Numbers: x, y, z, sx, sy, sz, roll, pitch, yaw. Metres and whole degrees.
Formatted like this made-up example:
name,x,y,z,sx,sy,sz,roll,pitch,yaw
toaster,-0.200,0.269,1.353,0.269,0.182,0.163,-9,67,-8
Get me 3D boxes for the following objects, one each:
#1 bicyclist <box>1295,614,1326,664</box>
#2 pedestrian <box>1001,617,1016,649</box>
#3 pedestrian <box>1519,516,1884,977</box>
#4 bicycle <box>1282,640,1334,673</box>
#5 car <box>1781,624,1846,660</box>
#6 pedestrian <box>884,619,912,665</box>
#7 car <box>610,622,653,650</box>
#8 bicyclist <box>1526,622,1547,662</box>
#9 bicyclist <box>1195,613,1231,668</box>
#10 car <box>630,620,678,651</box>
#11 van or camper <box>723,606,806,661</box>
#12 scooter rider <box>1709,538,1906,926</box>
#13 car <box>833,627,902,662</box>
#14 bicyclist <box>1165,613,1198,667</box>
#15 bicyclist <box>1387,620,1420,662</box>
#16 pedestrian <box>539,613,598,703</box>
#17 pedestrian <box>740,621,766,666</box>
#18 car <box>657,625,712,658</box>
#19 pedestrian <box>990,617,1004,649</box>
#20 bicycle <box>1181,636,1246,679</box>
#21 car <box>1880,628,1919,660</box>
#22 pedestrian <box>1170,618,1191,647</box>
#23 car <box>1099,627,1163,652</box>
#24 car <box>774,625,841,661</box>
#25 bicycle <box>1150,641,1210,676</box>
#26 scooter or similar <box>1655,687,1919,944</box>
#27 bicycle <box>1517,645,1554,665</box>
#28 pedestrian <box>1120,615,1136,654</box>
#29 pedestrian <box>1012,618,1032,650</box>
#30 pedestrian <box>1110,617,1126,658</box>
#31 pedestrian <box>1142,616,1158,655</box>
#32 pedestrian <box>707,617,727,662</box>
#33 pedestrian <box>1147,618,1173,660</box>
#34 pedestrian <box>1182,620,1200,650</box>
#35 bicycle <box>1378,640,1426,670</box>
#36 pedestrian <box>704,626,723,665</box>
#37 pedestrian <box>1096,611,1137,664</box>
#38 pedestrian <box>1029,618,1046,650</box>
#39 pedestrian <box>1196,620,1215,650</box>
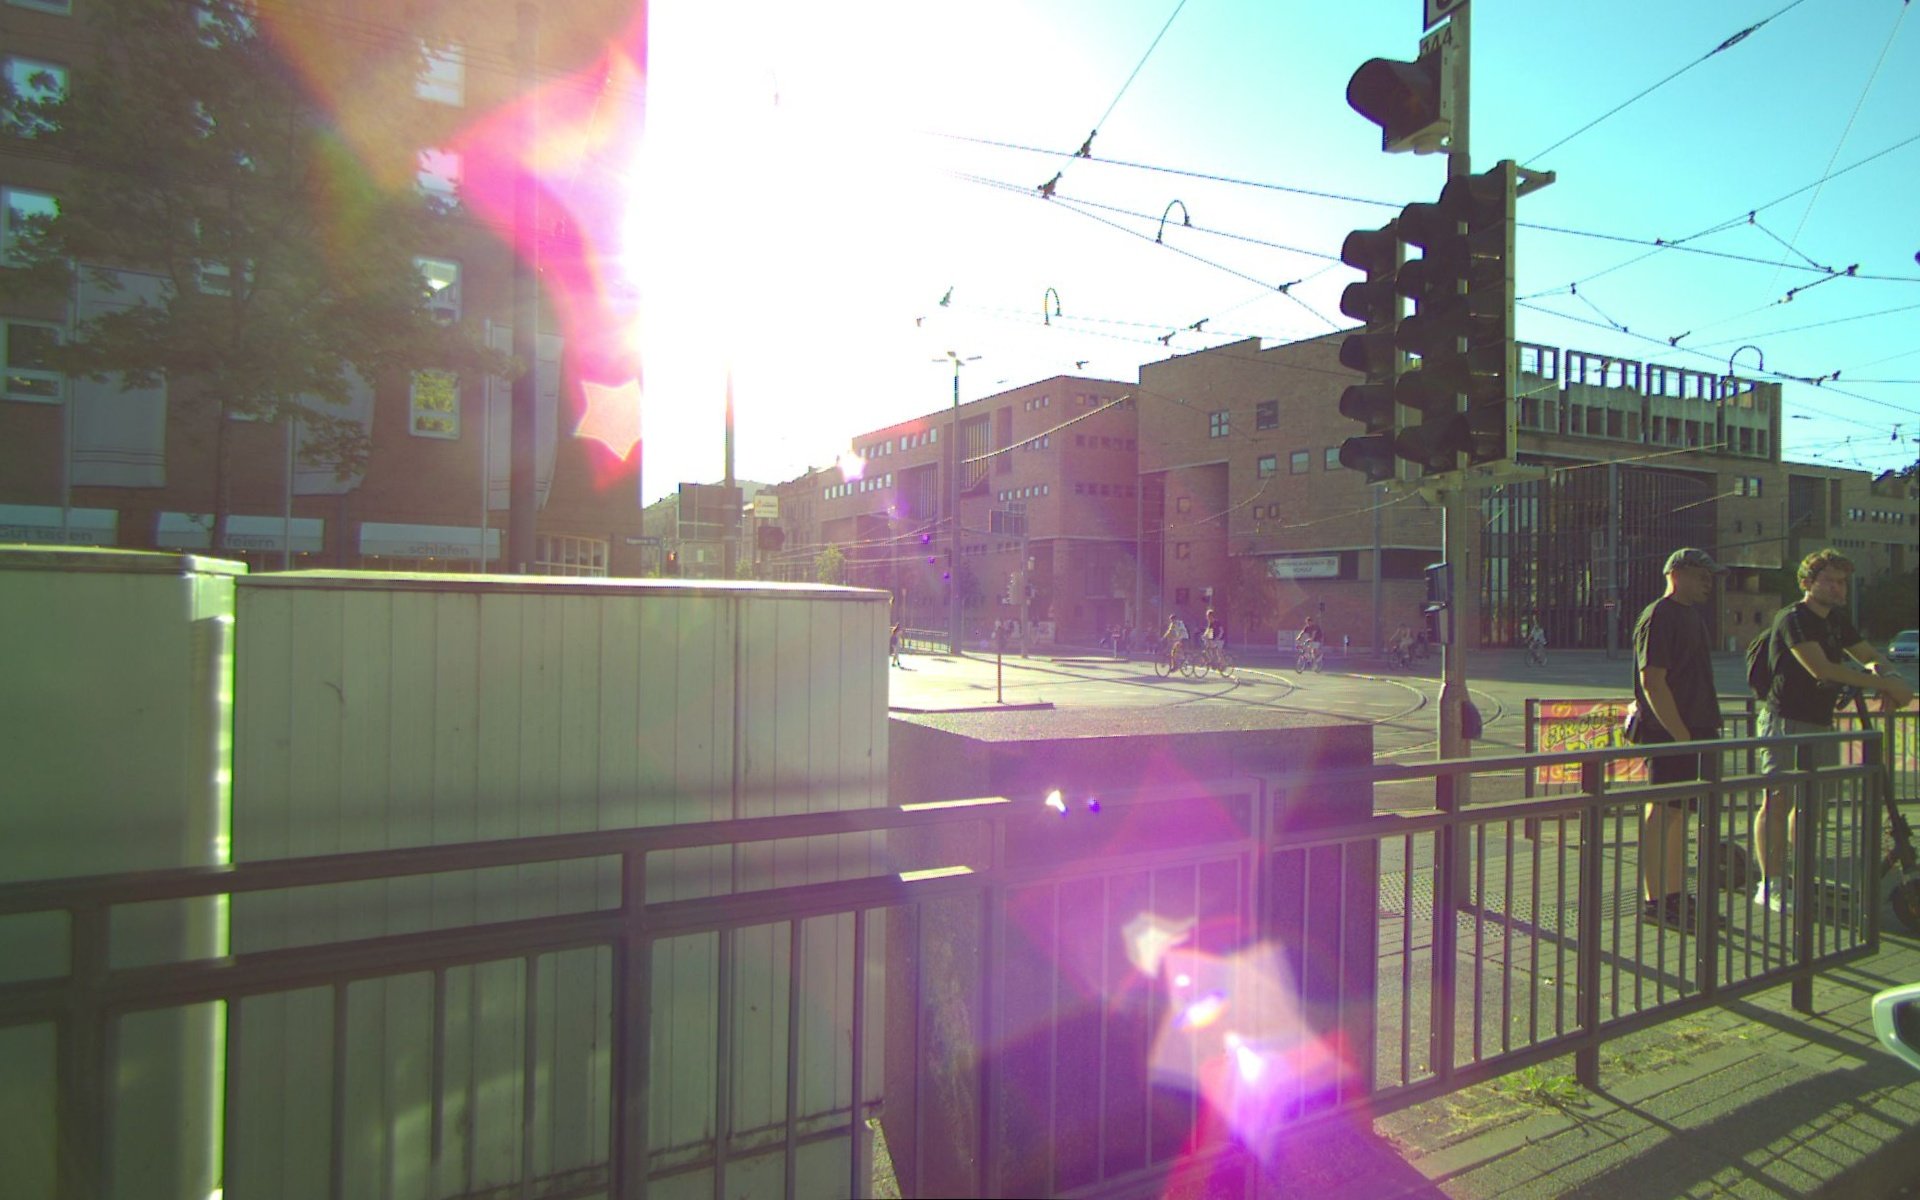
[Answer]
name,x,y,z,sx,sy,sz,roll,pitch,yaw
bicyclist,11.489,1.272,32.923,0.752,1.590,0.656,1,-2,-37
pedestrian,3.117,2.130,64.448,0.644,2.040,0.780,1,-1,-32
pedestrian,3.538,0.625,4.885,0.843,1.908,1.164,1,-1,-25
bicycle,11.391,1.838,32.847,1.884,1.011,0.688,1,-2,-37
car,46.141,2.245,54.294,3.964,1.786,1.854,1,0,-37
pedestrian,-2.447,1.658,39.705,0.860,1.775,0.670,1,-2,-39
car,-21.136,2.295,64.590,1.738,1.750,3.965,1,-2,-32
bicyclist,24.226,1.755,42.196,0.509,1.647,0.583,1,-1,-34
bicyclist,7.504,1.183,29.781,0.751,1.581,0.677,-1,0,-36
car,-18.280,2.102,59.956,1.738,1.750,3.965,1,-2,-32
van or camper,-9.372,1.575,47.933,1.981,2.451,4.980,1,-2,-36
scooter rider,4.447,0.659,5.281,0.670,1.877,0.564,3,-2,-25
car,-4.818,2.245,51.803,1.978,1.709,3.965,1,-2,-33
bicyclist,6.692,1.210,30.331,0.751,1.595,0.656,1,-1,-34
bicyclist,16.111,1.479,36.447,1.022,1.494,0.649,2,-1,-35
pedestrian,-8.297,1.204,21.291,0.947,1.822,0.984,2,0,-33
pedestrian,-8.345,1.746,40.483,0.857,1.775,0.672,1,-1,-30
car,-14.907,2.212,54.236,1.739,1.750,3.963,1,-2,-33
pedestrian,2.379,2.132,64.582,0.607,2.040,0.727,1,-1,-32
bicycle,7.538,1.695,29.799,2.091,1.157,0.680,-1,0,-37
car,48.947,2.255,51.701,3.962,1.598,1.610,1,-2,-36
pedestrian,15.296,2.263,69.752,0.902,2.040,1.151,1,-1,-34
car,10.292,2.364,60.471,1.573,1.394,3.672,1,-2,-40
car,-7.808,2.152,51.178,1.978,1.709,3.965,1,-2,-33
bicycle,6.643,1.759,30.308,1.882,1.011,0.649,1,-2,-35
scooter or similar,4.458,1.046,5.258,0.639,1.095,1.199,1,-1,-25
bicycle,24.146,2.292,42.130,1.948,0.781,0.586,1,-2,-35
pedestrian,8.836,1.823,52.723,0.603,2.040,0.731,0,-1,30
pedestrian,3.844,2.118,62.423,0.917,2.010,0.780,1,-1,-32
pedestrian,7.900,1.858,50.185,0.603,2.040,0.731,0,-1,30
pedestrian,9.900,1.837,52.261,0.603,2.040,0.731,0,-1,30
pedestrian,-11.032,1.789,45.630,0.597,2.040,0.848,1,-1,-38
pedestrian,9.372,1.848,47.096,0.866,1.927,0.718,2,0,-33
pedestrian,16.221,2.446,70.523,0.841,2.079,1.001,1,-1,-32
bicycle,16.019,1.979,36.406,1.993,1.064,0.647,2,-1,-35
pedestrian,-11.695,2.165,47.679,0.597,1.843,0.848,1,-1,-38
pedestrian,6.197,1.487,39.886,1.193,2.040,1.028,2,0,-30
pedestrian,4.839,2.148,63.090,0.742,2.010,0.780,1,-1,-32
pedestrian,16.902,2.413,69.156,0.841,2.079,1.001,1,-1,-32
